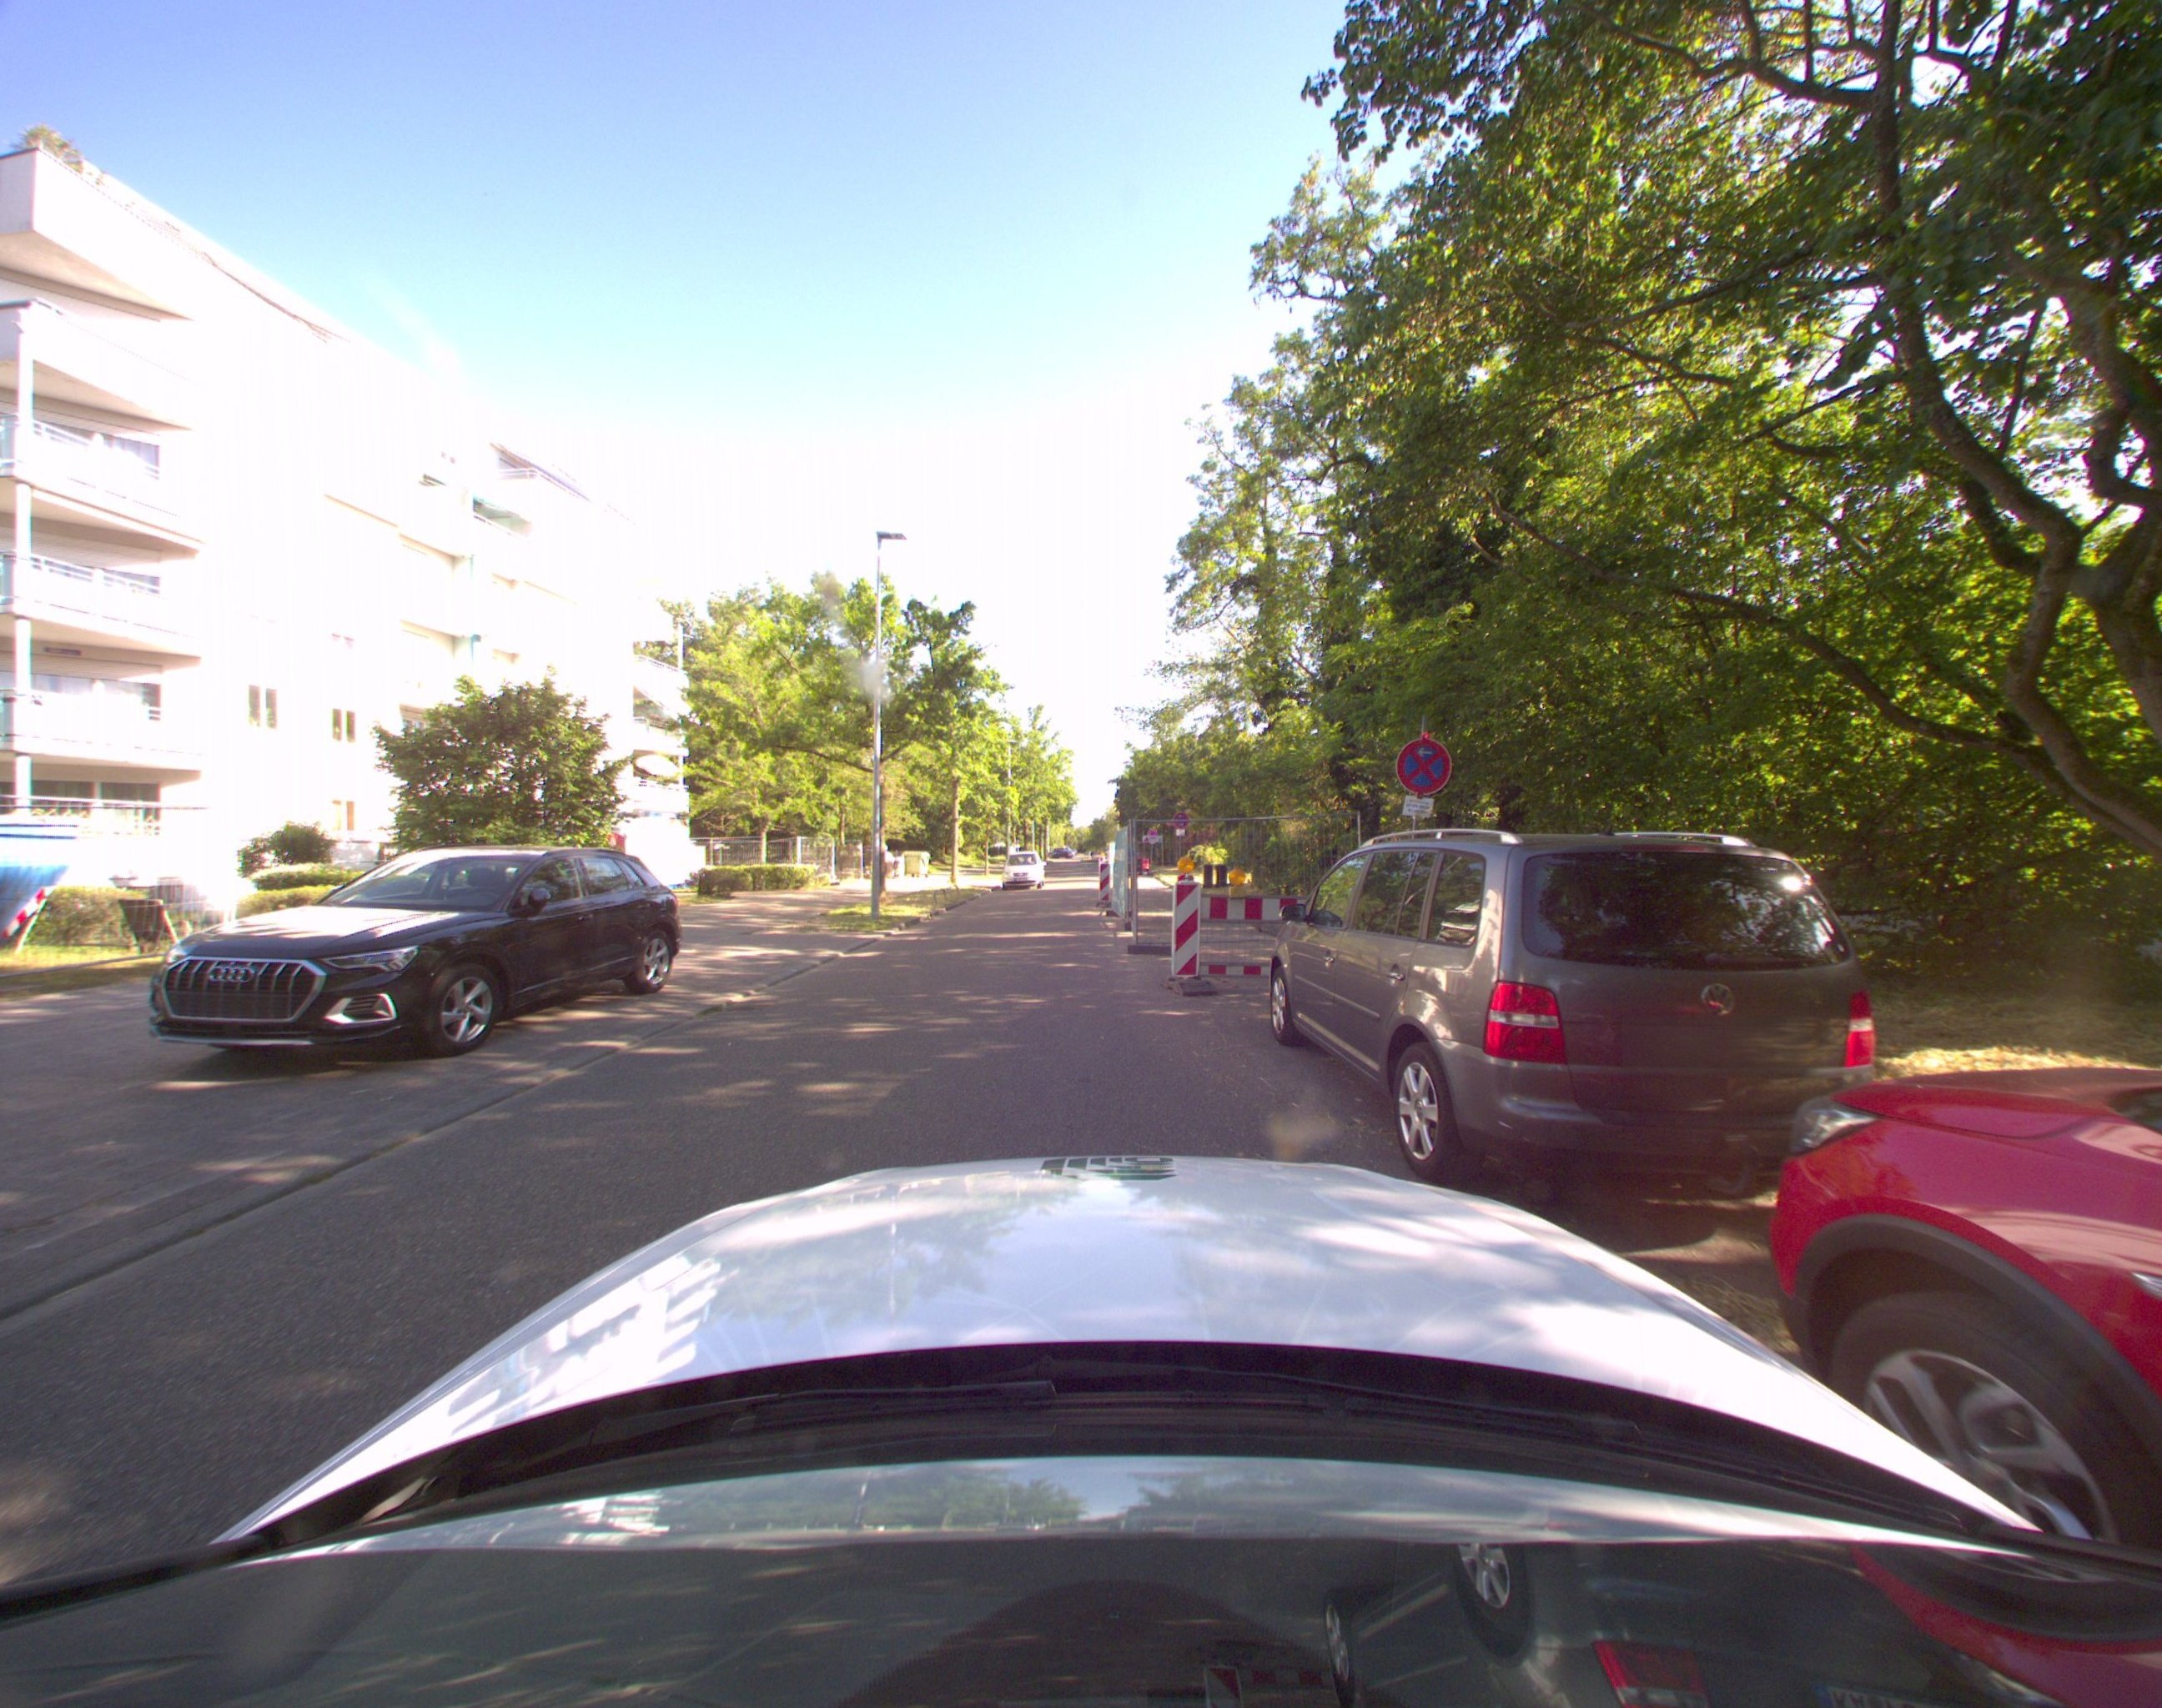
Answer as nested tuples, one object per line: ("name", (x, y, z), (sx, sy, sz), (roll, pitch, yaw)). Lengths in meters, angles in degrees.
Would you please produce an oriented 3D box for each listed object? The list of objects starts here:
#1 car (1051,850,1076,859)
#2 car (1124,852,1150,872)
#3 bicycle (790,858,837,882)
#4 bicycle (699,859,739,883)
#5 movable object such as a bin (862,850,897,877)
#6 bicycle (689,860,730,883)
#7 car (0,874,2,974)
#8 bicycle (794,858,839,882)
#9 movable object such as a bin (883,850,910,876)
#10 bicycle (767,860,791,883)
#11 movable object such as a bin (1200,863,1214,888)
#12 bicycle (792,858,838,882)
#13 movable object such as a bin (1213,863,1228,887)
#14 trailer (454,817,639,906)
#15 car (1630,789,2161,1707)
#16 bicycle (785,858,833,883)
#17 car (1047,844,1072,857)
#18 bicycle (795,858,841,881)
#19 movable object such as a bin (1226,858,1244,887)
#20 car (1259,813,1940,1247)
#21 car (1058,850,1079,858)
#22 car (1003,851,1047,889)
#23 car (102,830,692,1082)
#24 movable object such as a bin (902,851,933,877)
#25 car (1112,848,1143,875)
("car", (-3.269, 0.141, 150.053), (4.295, 1.576, 2.050), (1, 0, 7))
("car", (4.141, 0.574, 60.319), (1.656, 1.375, 4.155), (1, 0, 1))
("bicycle", (-11.418, 0.677, 34.811), (1.839, 1.027, 0.399), (0, -1, -12))
("bicycle", (-16.353, 0.770, 36.766), (1.686, 1.027, 0.401), (-1, -1, 6))
("movable object such as a bin", (-10.932, 0.505, 44.126), (1.257, 1.435, 1.334), (-1, 0, 29))
("bicycle", (-16.473, 0.772, 36.091), (1.686, 1.027, 0.401), (-1, -1, 6))
("car", (-5.127, 0.791, 1.163), (1.712, 1.432, 4.133), (1, 0, -3))
("bicycle", (-11.586, 0.682, 35.706), (1.839, 1.027, 0.399), (0, -1, -12))
("movable object such as a bin", (-10.674, 0.507, 46.978), (1.149, 1.435, 1.260), (-1, 0, -33))
("bicycle", (-13.766, 0.774, 37.156), (0.397, 1.027, 1.702), (-1, -1, 3))
("movable object such as a bin", (4.597, 0.776, 29.660), (0.411, 0.870, 0.484), (-2, 0, 1))
("bicycle", (-11.520, 0.682, 35.283), (1.860, 1.027, 0.399), (0, -1, -12))
("movable object such as a bin", (5.087, 0.756, 29.704), (0.411, 0.870, 0.484), (-2, 0, 1))
("trailer", (-14.243, 0.179, 22.066), (1.855, 2.120, 4.351), (1, 0, 5))
("car", (2.513, 0.696, 0.535), (1.672, 1.574, 4.068), (1, 0, 2))
("bicycle", (-11.453, 0.674, 34.338), (1.856, 1.027, 0.399), (0, -1, -12))
("car", (-4.575, -0.756, 175.318), (5.190, 2.621, 2.290), (1, 0, -4))
("bicycle", (-11.675, 0.688, 36.171), (1.916, 1.027, 0.399), (0, -1, -12))
("movable object such as a bin", (5.600, 0.671, 29.640), (0.517, 0.999, 0.608), (-2, 0, 1))
("car", (2.405, 0.653, 5.129), (1.673, 1.621, 4.137), (1, 0, 0))
("car", (-2.607, 0.001, 166.351), (4.090, 1.576, 1.960), (1, 0, 2))
("car", (-2.421, 0.652, 35.927), (1.654, 1.596, 4.008), (0, 0, 0))
("car", (-5.523, 0.661, 7.487), (1.769, 1.621, 4.221), (1, 0, 1))
("movable object such as a bin", (-9.074, 0.548, 45.324), (1.259, 1.435, 1.187), (-1, 0, 17))
("car", (3.095, 0.453, 53.518), (1.801, 1.651, 4.427), (1, 0, 5))
